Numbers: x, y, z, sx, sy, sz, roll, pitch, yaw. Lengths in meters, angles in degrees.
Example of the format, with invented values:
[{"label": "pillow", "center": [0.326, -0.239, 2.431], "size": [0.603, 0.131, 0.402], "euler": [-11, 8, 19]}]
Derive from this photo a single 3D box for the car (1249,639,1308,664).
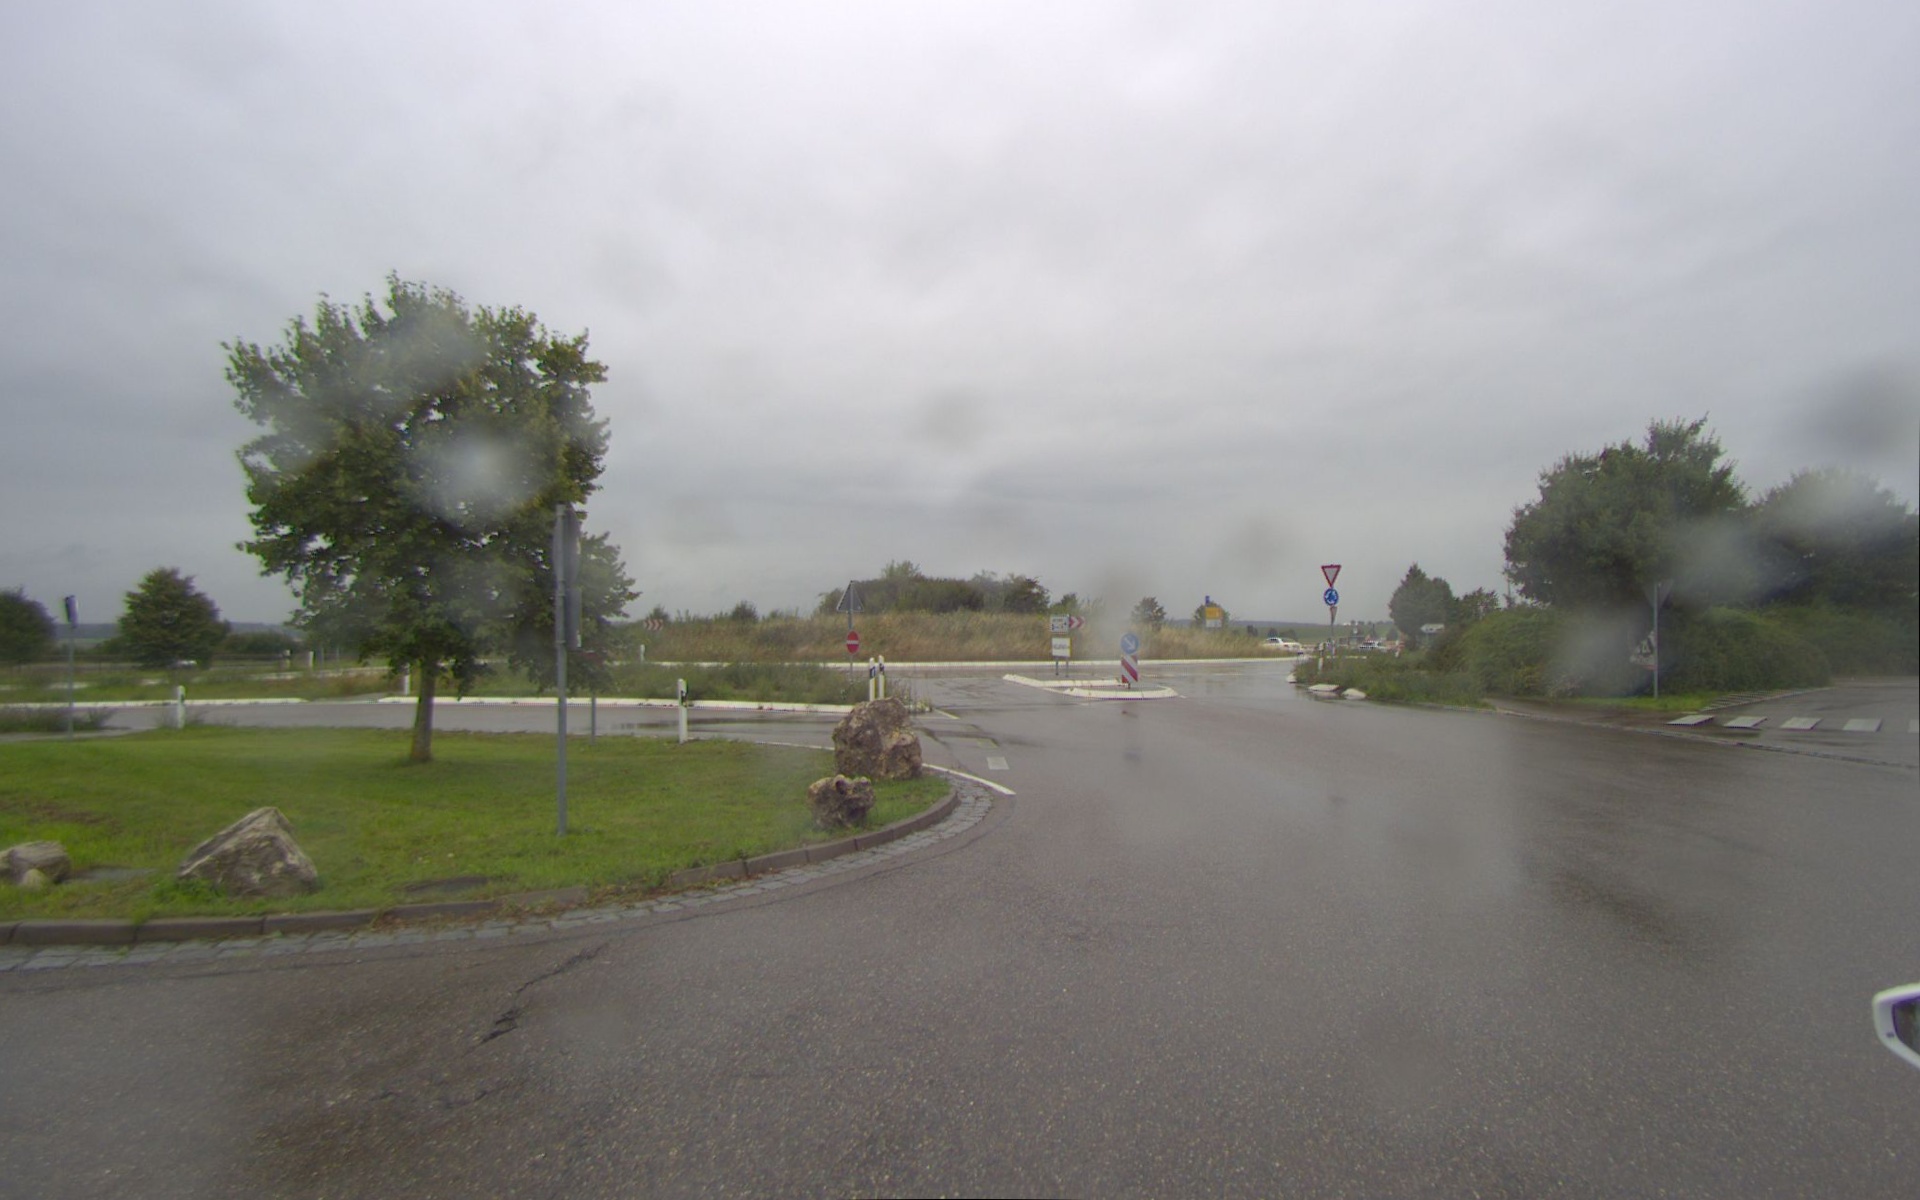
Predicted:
[{"label": "car", "center": [23.095, 3.764, 73.014], "size": [1.723, 1.781, 4.345], "euler": [1, -3, -22]}]
